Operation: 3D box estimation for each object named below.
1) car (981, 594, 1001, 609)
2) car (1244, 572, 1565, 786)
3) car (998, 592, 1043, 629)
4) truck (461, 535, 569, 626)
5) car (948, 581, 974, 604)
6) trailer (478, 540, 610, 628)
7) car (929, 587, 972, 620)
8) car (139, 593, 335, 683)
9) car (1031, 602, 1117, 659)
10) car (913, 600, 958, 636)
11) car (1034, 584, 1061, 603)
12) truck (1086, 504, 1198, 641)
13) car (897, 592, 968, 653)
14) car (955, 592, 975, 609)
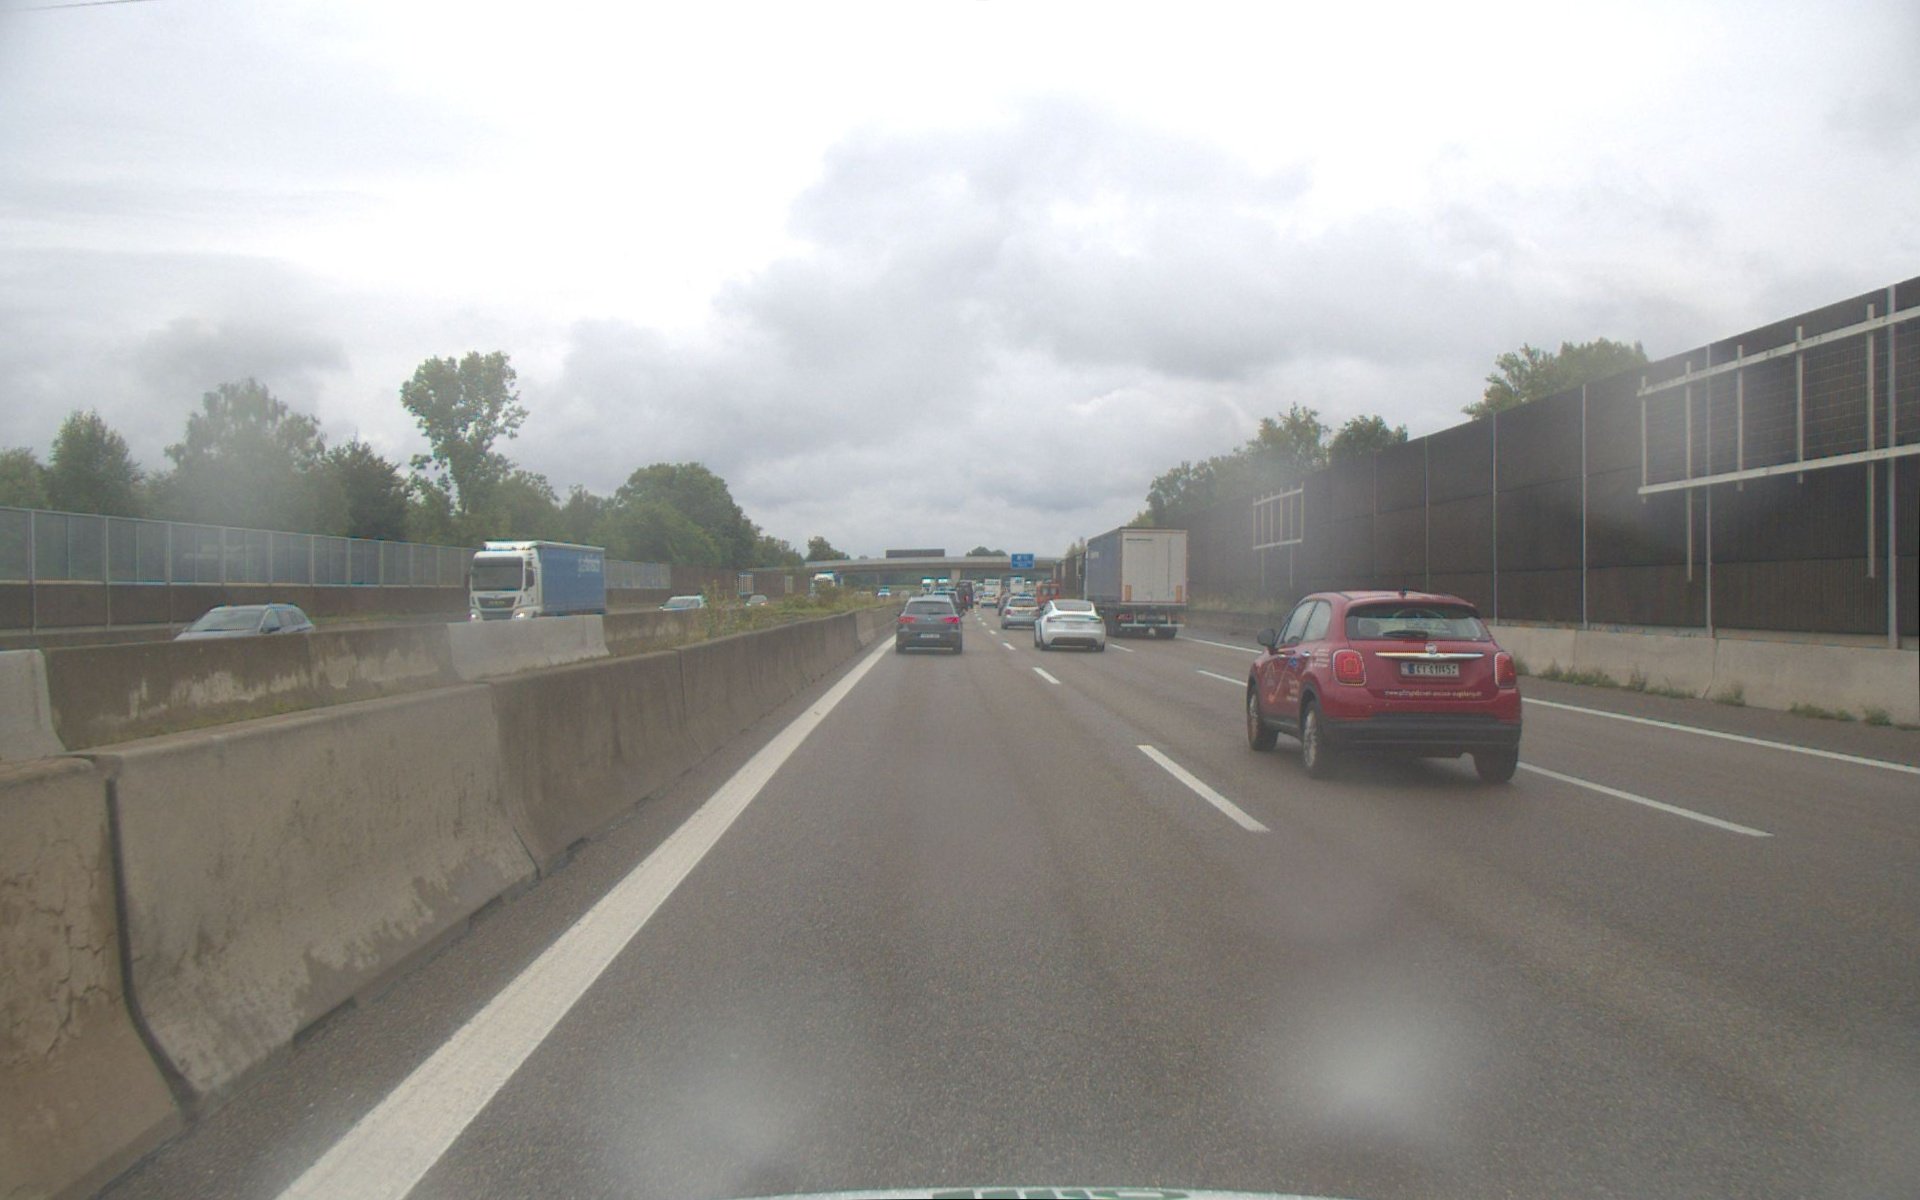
[{"bbox_3d":[3.355,0.179,177.471,1.953,1.545,3.999,1,0,-2],"label":"car"},{"bbox_3d":[3.889,0.645,15.196,1.917,1.676,4.000,1,0,1],"label":"car"},{"bbox_3d":[2.707,0.452,74.591,1.668,1.570,3.836,1,0,-3],"label":"car"},{"bbox_3d":[-19.465,-0.826,72.769,2.932,3.756,6.880,1,0,-1],"label":"truck"},{"bbox_3d":[0.076,-0.638,141.887,1.954,1.847,3.998,1,0,-3],"label":"car"},{"bbox_3d":[-19.636,-0.708,79.190,2.932,3.756,14.054,1,0,-1],"label":"trailer"},{"bbox_3d":[-0.531,0.175,84.379,1.954,1.612,3.997,0,0,-4],"label":"car"},{"bbox_3d":[-14.929,0.855,34.490,2.174,1.654,4.635,1,-4,-3],"label":"car"},{"bbox_3d":[3.205,0.838,47.291,1.954,1.512,3.997,1,0,-4],"label":"car"},{"bbox_3d":[-1.063,0.729,69.921,1.746,1.431,3.624,1,0,-3],"label":"car"},{"bbox_3d":[7.205,-0.510,136.414,1.953,1.545,3.999,1,0,-2],"label":"car"},{"bbox_3d":[6.811,-0.992,63.122,2.984,4.817,7.675,1,0,-3],"label":"truck"},{"bbox_3d":[-0.749,0.559,43.155,1.728,1.478,3.998,1,0,-3],"label":"car"},{"bbox_3d":[0.463,0.010,167.952,1.953,1.652,3.999,1,0,-1],"label":"car"}]
